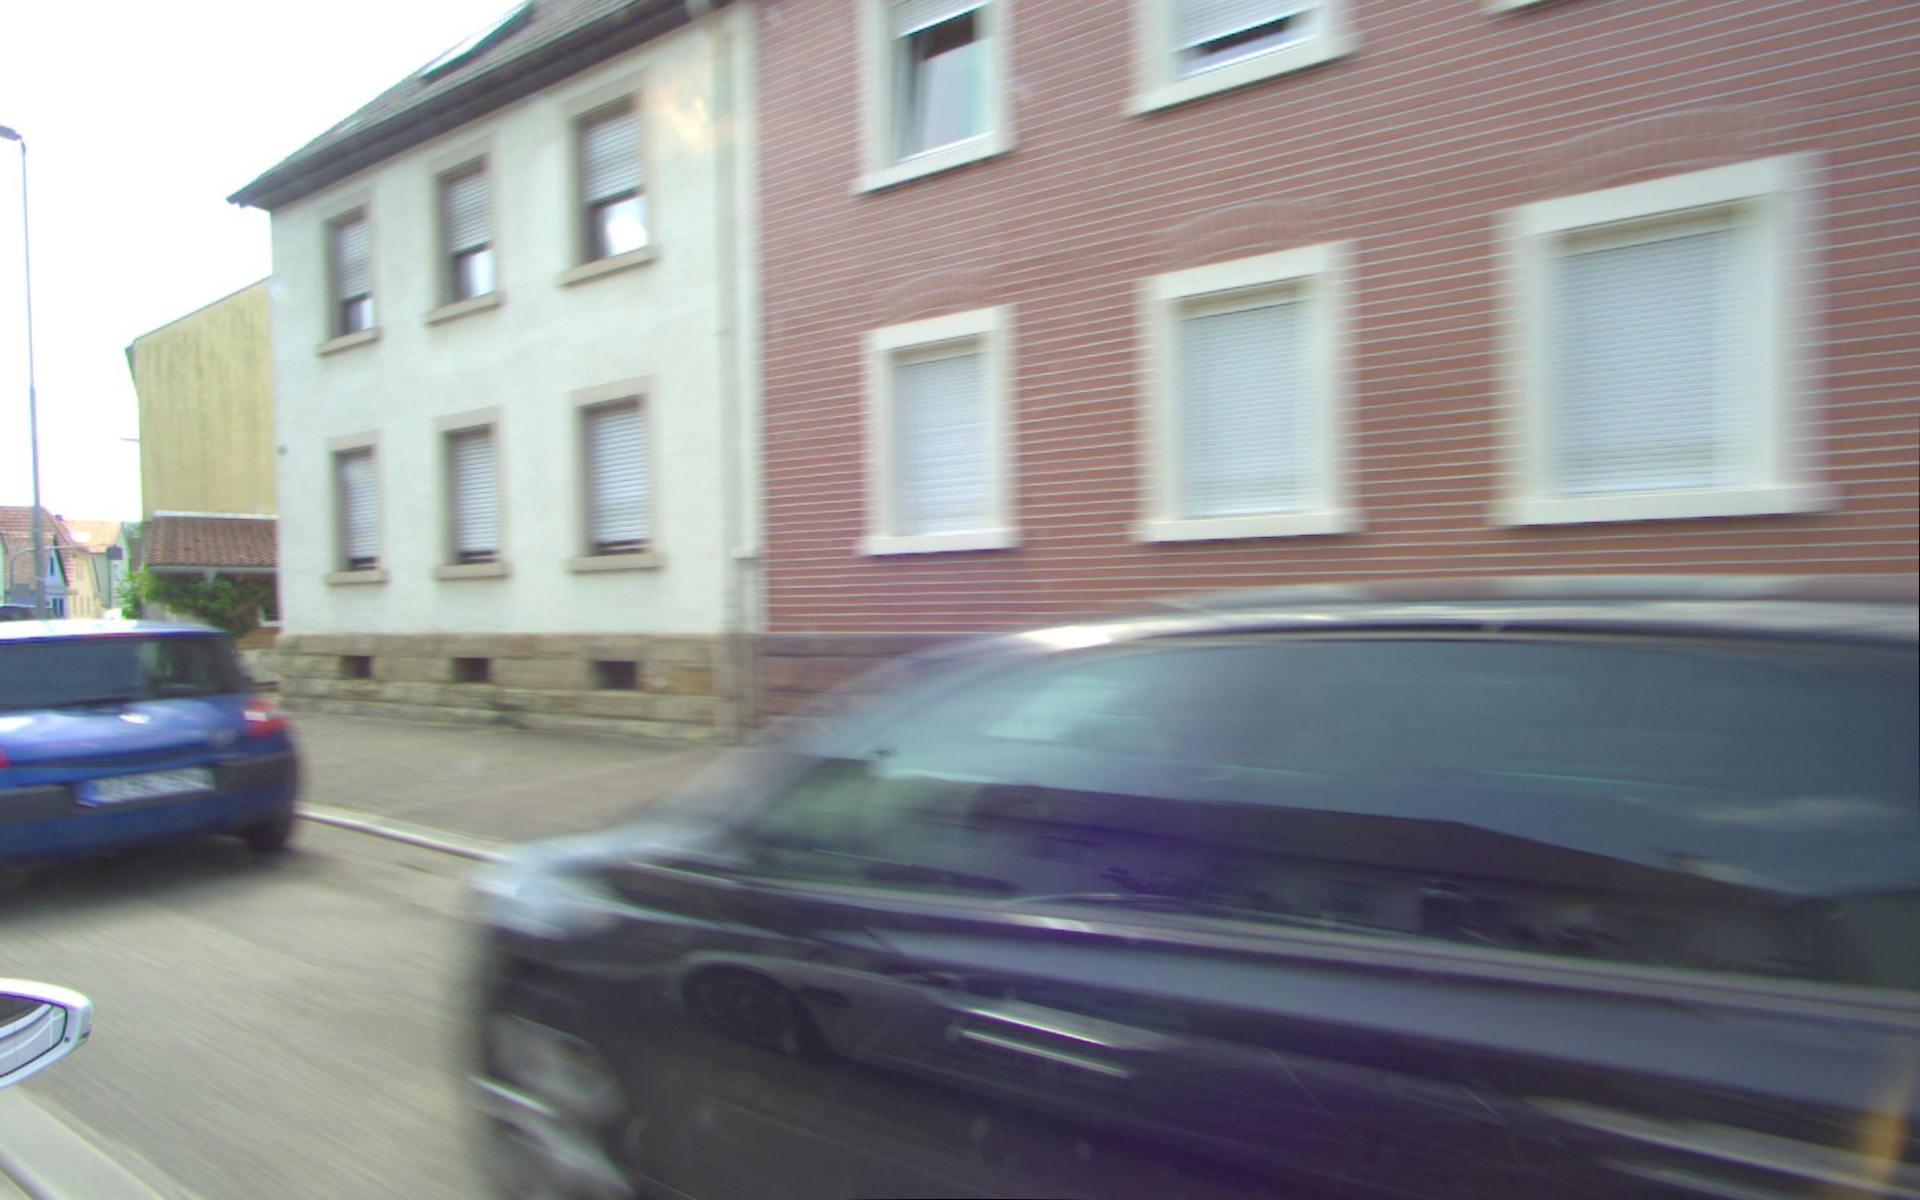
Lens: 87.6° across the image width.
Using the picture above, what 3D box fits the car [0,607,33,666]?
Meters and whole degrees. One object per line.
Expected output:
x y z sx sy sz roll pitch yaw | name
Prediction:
-27.029 1.036 27.637 1.870 1.549 3.968 1 -2 -39 | car

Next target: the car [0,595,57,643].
-38.364 0.794 40.498 1.972 1.839 3.980 0 -2 -30 | car

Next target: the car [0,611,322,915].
-5.786 0.838 6.302 3.950 1.403 1.716 -2 -1 37 | car

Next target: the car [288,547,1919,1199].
0.301 0.664 2.395 3.943 1.552 1.762 2 4 34 | car
